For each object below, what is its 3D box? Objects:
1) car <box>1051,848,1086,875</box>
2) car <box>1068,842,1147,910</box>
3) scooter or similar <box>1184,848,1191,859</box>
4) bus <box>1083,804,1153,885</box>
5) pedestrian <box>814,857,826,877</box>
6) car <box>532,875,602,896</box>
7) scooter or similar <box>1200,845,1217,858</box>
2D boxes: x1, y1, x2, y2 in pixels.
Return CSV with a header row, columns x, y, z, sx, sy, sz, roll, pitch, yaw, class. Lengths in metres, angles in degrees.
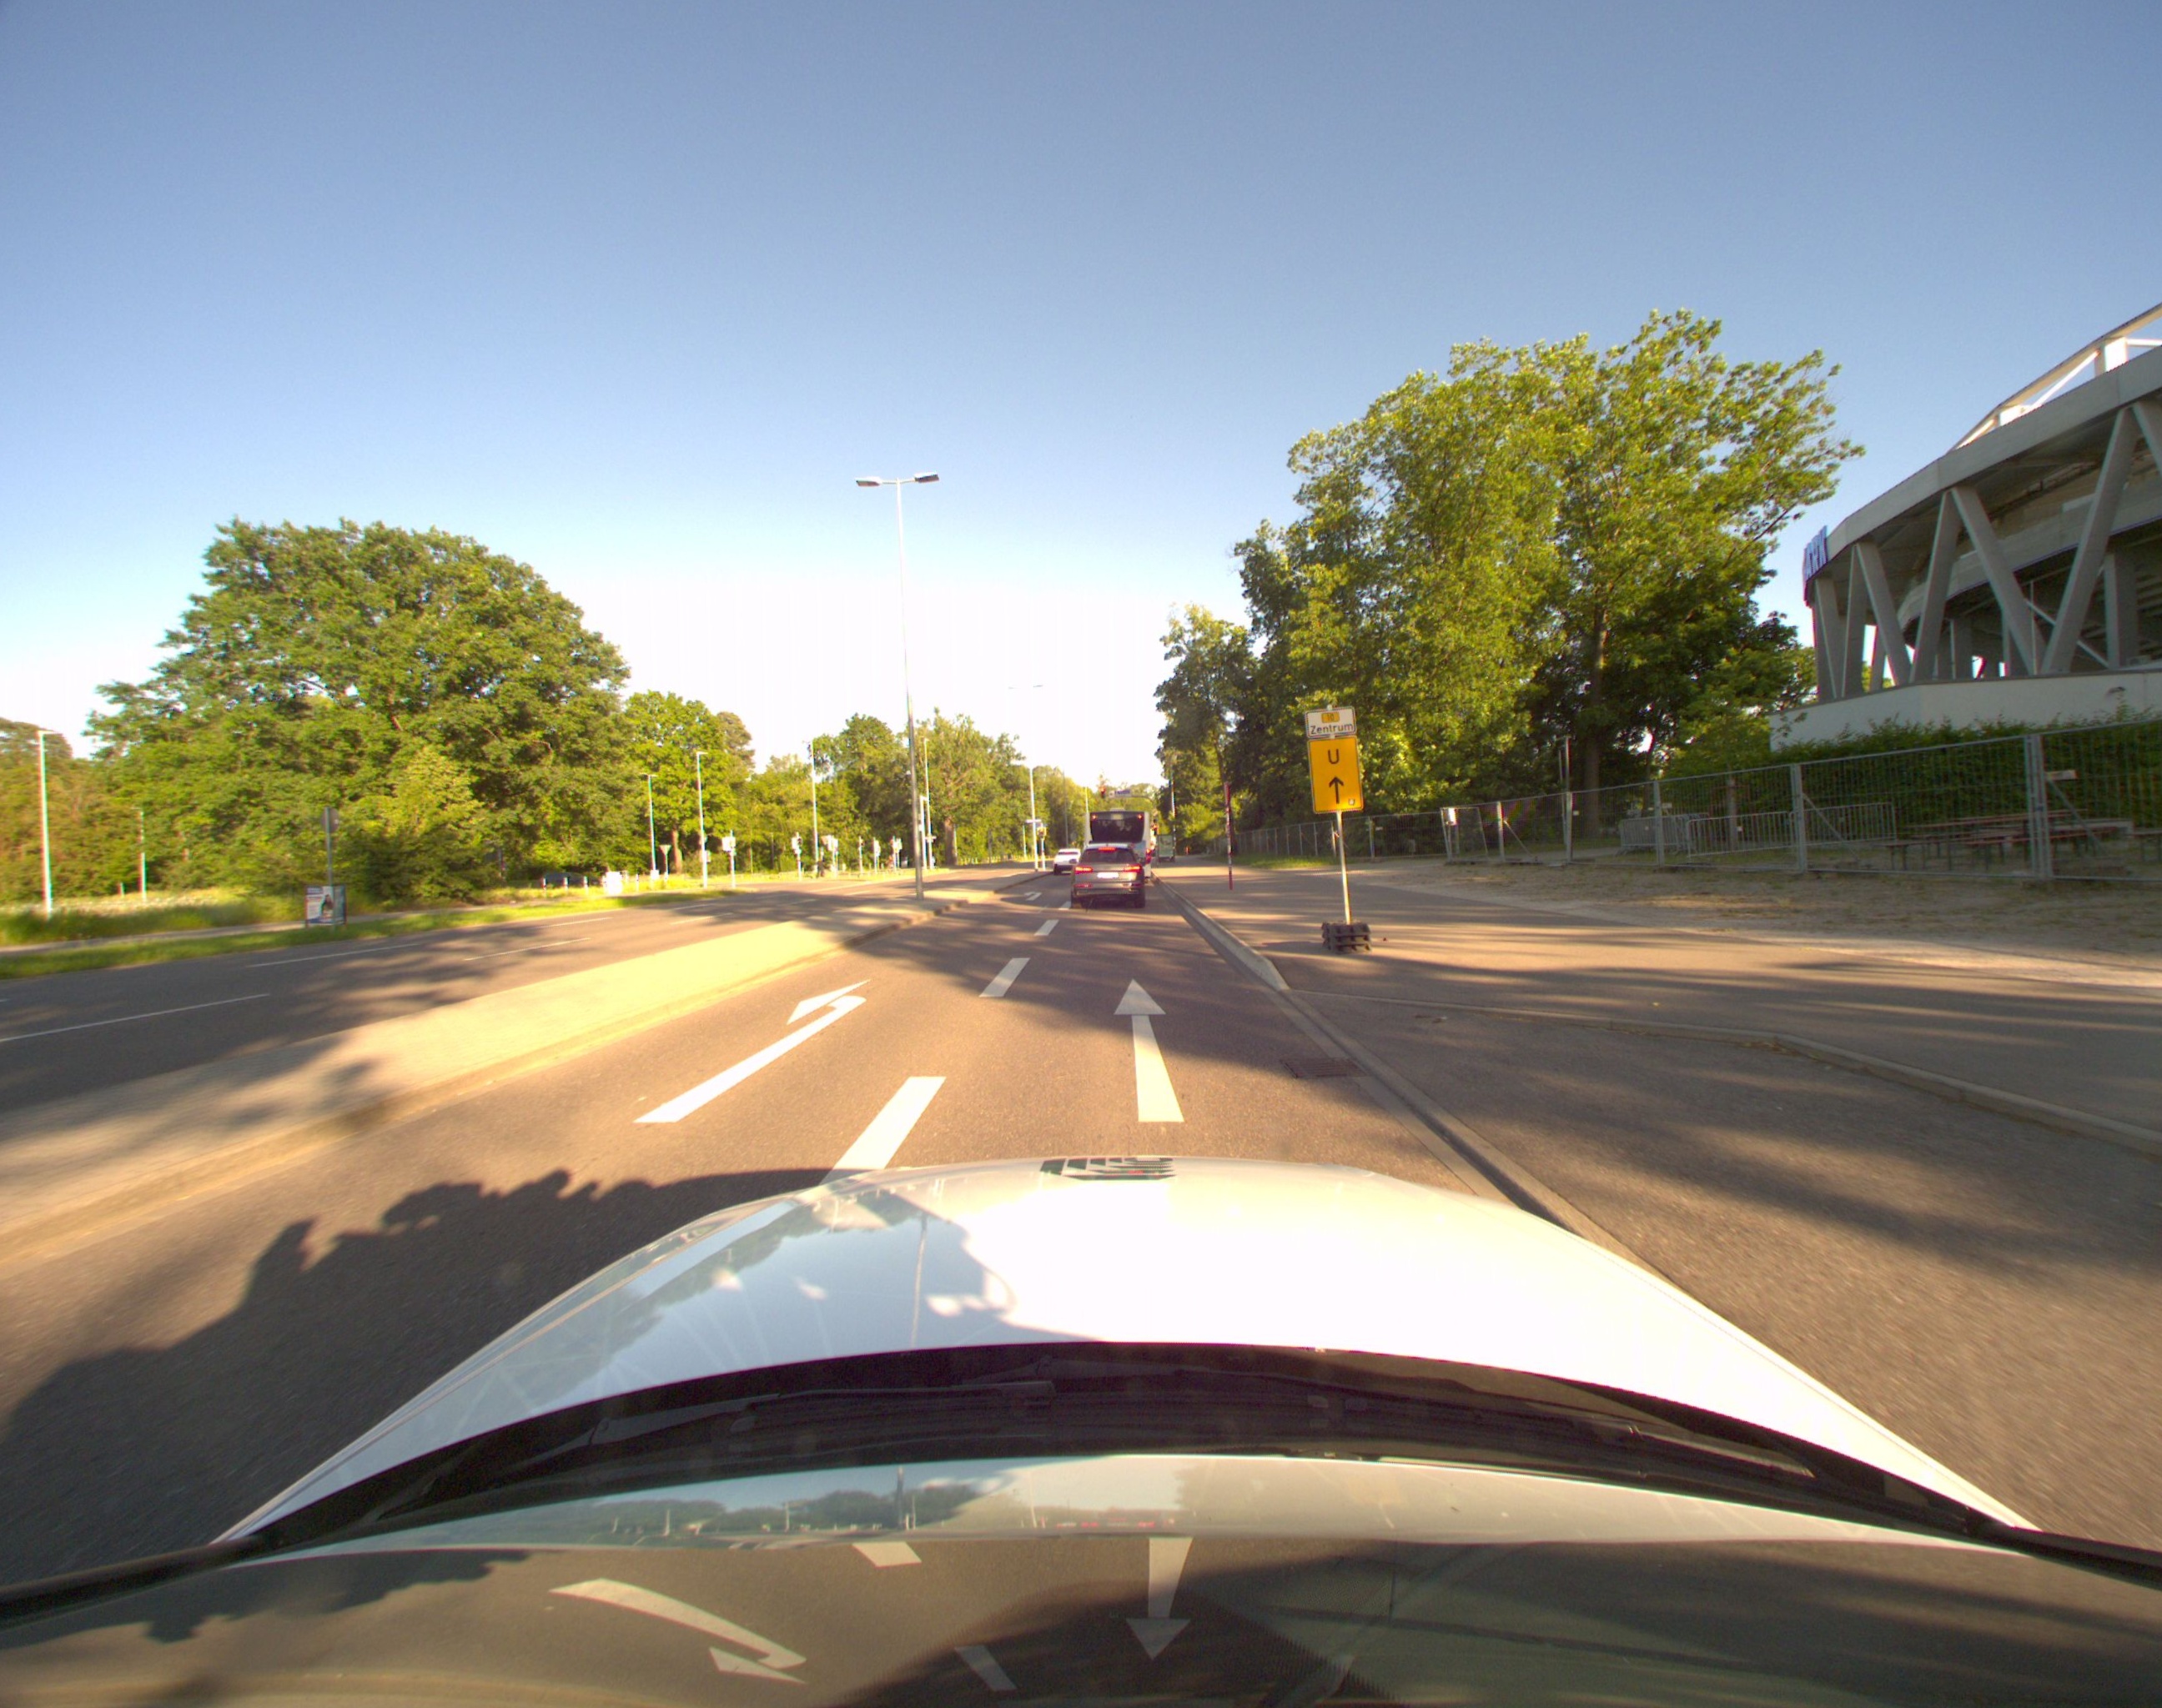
x,y,z,sx,sy,sz,roll,pitch,yaw,class
-0.723,0.412,49.496,1.829,1.518,4.003,-2,0,3,car
0.753,0.518,21.760,1.891,1.632,4.003,-1,0,3,car
13.405,-0.059,102.473,0.506,1.444,2.021,-3,0,-2,scooter or similar
1.637,-0.328,35.316,2.584,2.989,9.333,-1,0,3,bus
-20.954,1.052,65.400,0.652,1.560,0.533,-3,0,-39,pedestrian
-44.516,2.731,70.622,4.756,1.498,2.000,-3,0,1,car
15.673,-0.297,99.904,2.024,1.444,0.601,-3,0,-22,scooter or similar
